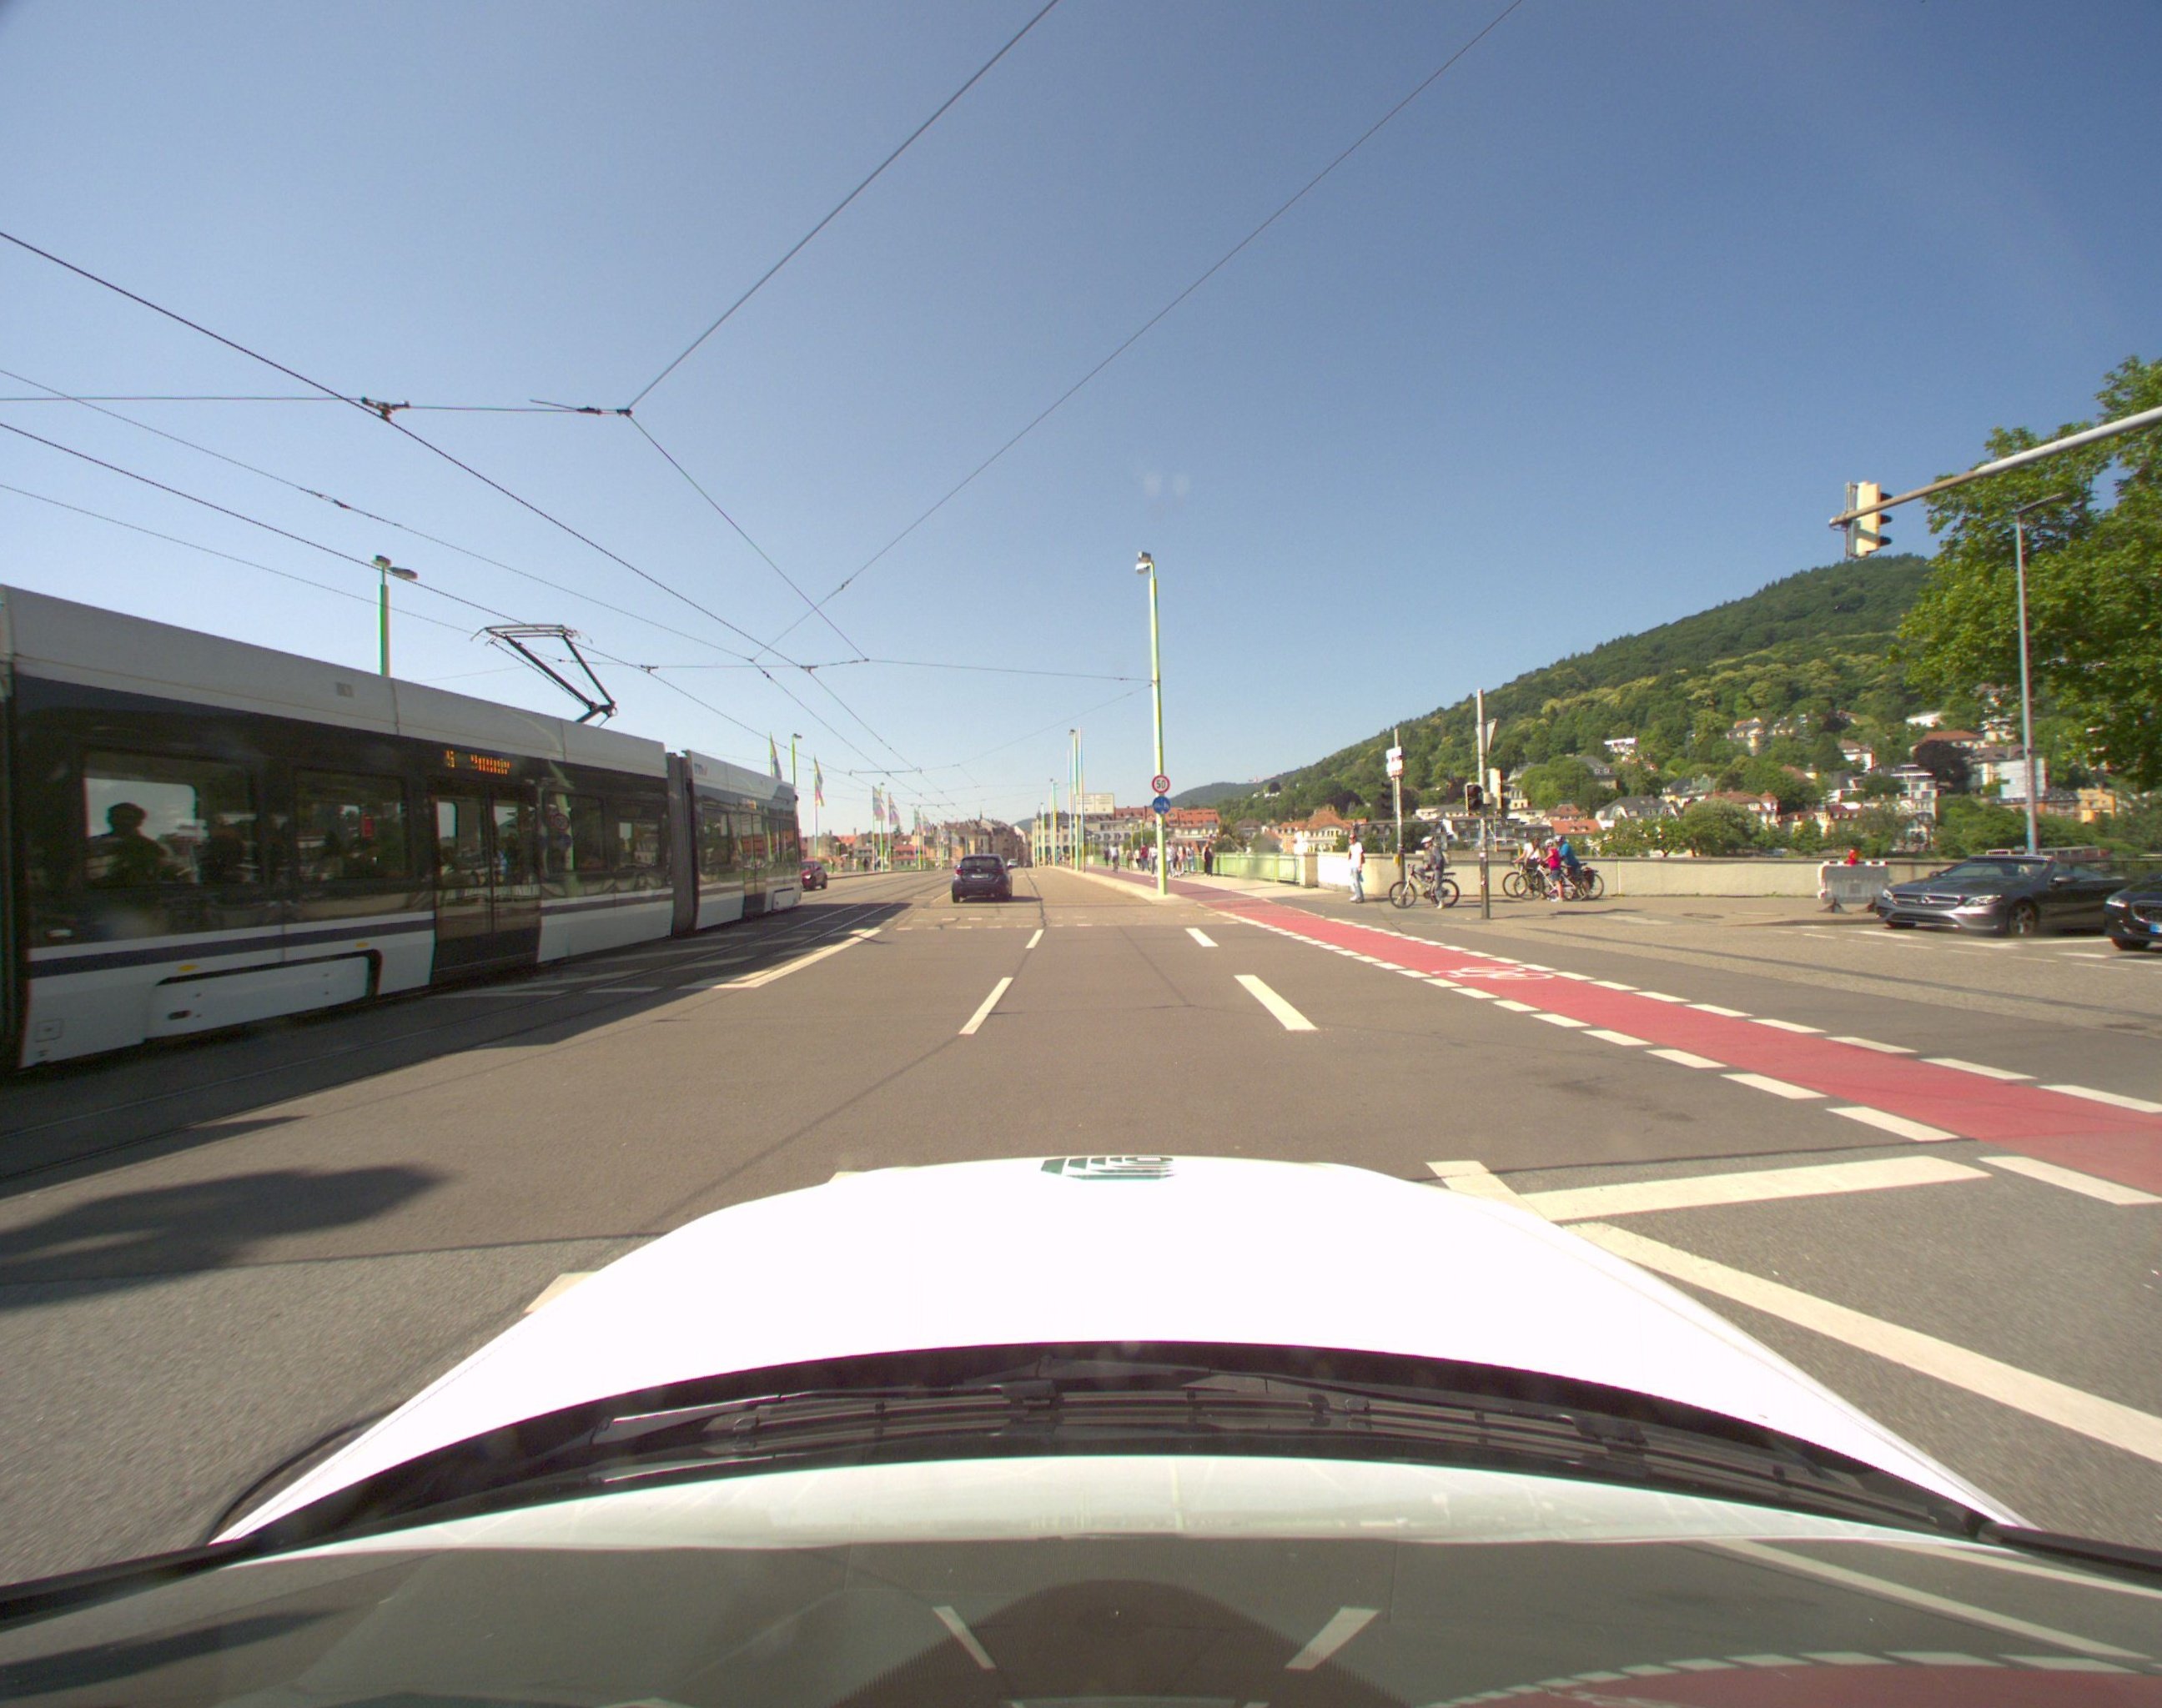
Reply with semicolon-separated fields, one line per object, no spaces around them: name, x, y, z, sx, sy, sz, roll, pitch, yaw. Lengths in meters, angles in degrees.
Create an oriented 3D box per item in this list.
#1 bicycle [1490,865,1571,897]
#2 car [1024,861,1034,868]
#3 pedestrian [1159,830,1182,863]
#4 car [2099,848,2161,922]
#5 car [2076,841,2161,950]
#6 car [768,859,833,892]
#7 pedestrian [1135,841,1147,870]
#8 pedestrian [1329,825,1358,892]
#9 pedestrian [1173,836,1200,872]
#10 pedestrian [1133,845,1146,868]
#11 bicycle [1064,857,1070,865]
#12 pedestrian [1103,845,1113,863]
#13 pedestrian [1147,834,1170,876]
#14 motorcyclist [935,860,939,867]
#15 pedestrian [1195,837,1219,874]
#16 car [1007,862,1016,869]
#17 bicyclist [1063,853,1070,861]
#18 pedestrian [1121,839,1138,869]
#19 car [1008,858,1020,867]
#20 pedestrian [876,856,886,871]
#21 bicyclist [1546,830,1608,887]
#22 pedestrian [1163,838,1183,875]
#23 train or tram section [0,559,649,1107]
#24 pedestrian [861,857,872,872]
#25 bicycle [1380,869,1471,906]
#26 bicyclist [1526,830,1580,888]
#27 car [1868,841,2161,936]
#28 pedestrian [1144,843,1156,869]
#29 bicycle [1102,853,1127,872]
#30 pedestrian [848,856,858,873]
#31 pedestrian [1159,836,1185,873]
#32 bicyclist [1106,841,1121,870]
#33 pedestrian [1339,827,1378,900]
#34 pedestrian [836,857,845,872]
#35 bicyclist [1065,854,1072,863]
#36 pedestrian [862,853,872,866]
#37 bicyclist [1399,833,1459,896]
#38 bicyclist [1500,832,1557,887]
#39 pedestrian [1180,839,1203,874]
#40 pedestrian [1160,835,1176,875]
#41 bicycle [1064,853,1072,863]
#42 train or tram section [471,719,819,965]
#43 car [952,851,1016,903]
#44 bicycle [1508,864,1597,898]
bicycle;12.246;0.722;22.210;1.933;0.827;0.565;0;0;-1
car;-10.496;2.126;165.222;1.799;1.469;3.996;-3;-1;-3
pedestrian;5.225;-0.431;47.811;0.985;1.895;1.249;-2;-1;-11
car;23.710;0.596;16.815;4.481;1.448;1.837;-1;0;-17
car;17.311;0.568;11.933;4.480;1.505;1.838;-1;1;-16
car;-13.843;1.036;40.442;1.990;1.515;4.183;-2;-1;-4
pedestrian;3.761;0.072;51.106;0.585;1.793;0.630;-2;-1;-10
pedestrian;6.993;0.113;21.692;0.532;1.760;0.576;-1;0;-2
pedestrian;5.393;-0.012;41.786;0.985;1.769;1.250;-3;0;-11
pedestrian;4.058;0.157;56.182;0.650;1.562;0.689;-3;0;-12
bicycle;-1.851;0.902;106.919;0.617;1.037;2.046;-2;-1;-6
pedestrian;2.584;-0.012;78.049;0.655;1.743;0.975;-2;1;-11
pedestrian;3.805;0.060;40.065;0.803;2.014;0.951;-2;-1;-11
motorcyclist;-32.081;2.154;181.126;0.799;1.549;1.067;-2;-1;-6
pedestrian;5.780;0.068;37.386;0.799;1.635;0.946;-2;0;-11
car;-17.710;2.891;208.091;1.992;1.717;3.990;-2;-1;-7
bicyclist;-1.868;0.384;106.875;0.734;1.030;1.172;-2;-1;-7
pedestrian;3.321;0.019;55.806;0.874;2.014;1.055;-2;-1;-11
car;-12.032;1.613;146.342;1.803;1.469;3.989;-3;-1;-8
pedestrian;-26.857;1.253;109.491;1.096;2.013;1.292;-2;0;-8
bicyclist;13.090;0.107;21.524;1.075;1.474;0.929;0;0;3
pedestrian;4.342;0.112;38.413;0.696;1.716;0.729;-2;-1;-11
train or tram section;-8.397;-0.146;8.461;2.395;3.681;9.621;-2;1;1
pedestrian;-26.236;1.267;99.444;1.096;1.758;1.292;0;0;-8
bicycle;8.219;0.794;19.459;1.933;0.827;0.565;0;0;-1
bicyclist;12.178;0.127;21.037;1.071;1.474;0.765;0;0;16
car;17.236;0.566;15.053;4.480;1.395;1.837;-3;0;-16
pedestrian;4.356;0.119;51.209;0.523;1.649;0.697;-2;-1;-11
bicycle;2.055;0.500;50.828;0.792;1.096;3.733;-1;0;-9
pedestrian;-27.592;1.248;98.584;0.969;2.013;1.097;-2;0;-10
pedestrian;4.429;0.046;39.639;0.985;1.750;0.926;-2;-1;-11
bicyclist;2.046;0.096;50.829;0.673;1.744;1.147;-2;0;-9
pedestrian;7.182;0.237;21.096;0.772;1.855;0.644;-1;0;-2
pedestrian;-26.760;1.185;90.702;0.753;1.722;1.172;-1;-1;-7
bicyclist;-1.515;0.572;99.625;0.667;1.045;0.976;-1;0;-11
pedestrian;-29.162;0.732;110.860;1.096;1.729;1.291;-1;0;-8
bicyclist;8.283;0.236;19.425;1.076;1.474;0.800;0;0;-1
bicyclist;12.179;0.141;22.190;1.076;1.474;0.928;0;0;1
pedestrian;5.369;0.110;39.770;0.834;1.677;0.882;-2;-1;-11
pedestrian;4.031;0.049;37.838;0.549;1.799;0.643;-2;-1;-11
bicycle;-1.568;0.467;100.137;0.695;1.193;2.073;-2;-1;-8
train or tram section;-8.720;-0.253;18.707;2.466;3.777;11.828;-2;1;-5
car;-3.136;0.691;26.263;1.908;1.540;3.990;0;0;-7
bicycle;12.186;0.680;21.084;1.923;0.853;0.568;0;0;18
